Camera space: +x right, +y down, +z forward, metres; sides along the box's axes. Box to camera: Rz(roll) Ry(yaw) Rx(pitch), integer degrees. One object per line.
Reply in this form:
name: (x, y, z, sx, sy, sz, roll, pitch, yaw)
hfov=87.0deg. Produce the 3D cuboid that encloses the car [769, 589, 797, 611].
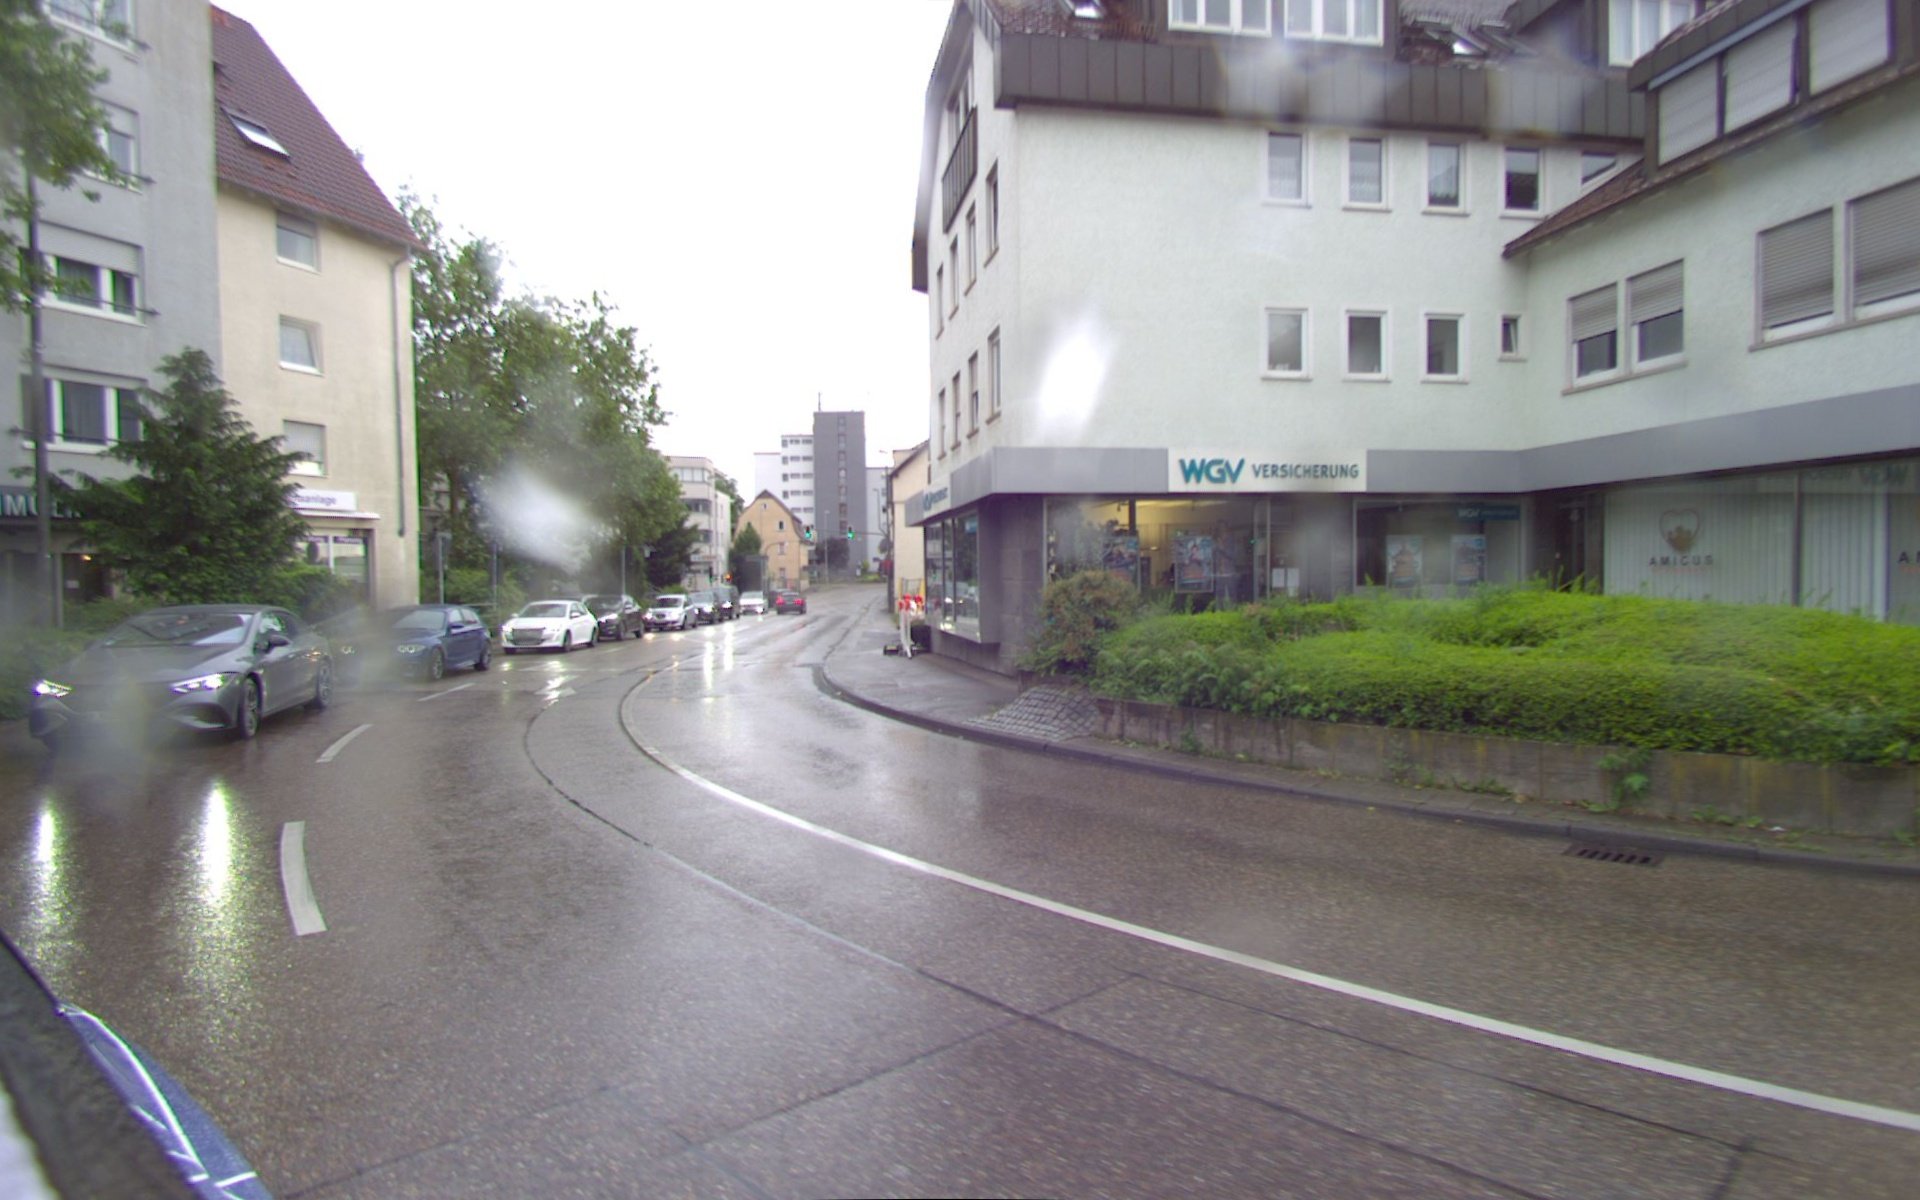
car: (-14.298, -0.004, 82.027, 1.969, 1.608, 4.006, -3, 0, -6)

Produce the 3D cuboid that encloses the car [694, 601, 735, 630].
car: (-14.209, 0.867, 58.780, 1.825, 1.489, 4.006, -2, 1, -7)

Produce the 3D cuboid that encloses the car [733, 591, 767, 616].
car: (-14.192, 0.265, 68.599, 1.968, 1.563, 4.007, -3, 0, -8)

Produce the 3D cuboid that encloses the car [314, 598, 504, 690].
car: (-10.751, 0.780, 20.122, 1.747, 1.544, 4.384, -1, 1, -6)

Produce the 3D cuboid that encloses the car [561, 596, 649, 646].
car: (-12.431, 0.688, 35.659, 1.788, 1.577, 4.002, -3, 0, -2)

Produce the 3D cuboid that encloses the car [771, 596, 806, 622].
car: (-11.234, 0.594, 66.437, 1.787, 1.577, 4.004, -3, 0, -4)

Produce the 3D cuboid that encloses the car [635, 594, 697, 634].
car: (-12.878, 0.568, 44.570, 1.818, 1.633, 4.005, -1, 1, -5)

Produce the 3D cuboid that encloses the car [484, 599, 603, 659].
car: (-11.848, 0.760, 29.081, 1.970, 1.464, 4.004, -2, 1, -4)

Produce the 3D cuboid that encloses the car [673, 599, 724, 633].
car: (-13.249, 0.771, 51.501, 1.805, 1.563, 4.005, -3, 0, -5)

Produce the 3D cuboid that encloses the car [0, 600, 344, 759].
car: (-9.257, 0.782, 12.276, 1.966, 1.504, 4.327, -1, 1, -16)
